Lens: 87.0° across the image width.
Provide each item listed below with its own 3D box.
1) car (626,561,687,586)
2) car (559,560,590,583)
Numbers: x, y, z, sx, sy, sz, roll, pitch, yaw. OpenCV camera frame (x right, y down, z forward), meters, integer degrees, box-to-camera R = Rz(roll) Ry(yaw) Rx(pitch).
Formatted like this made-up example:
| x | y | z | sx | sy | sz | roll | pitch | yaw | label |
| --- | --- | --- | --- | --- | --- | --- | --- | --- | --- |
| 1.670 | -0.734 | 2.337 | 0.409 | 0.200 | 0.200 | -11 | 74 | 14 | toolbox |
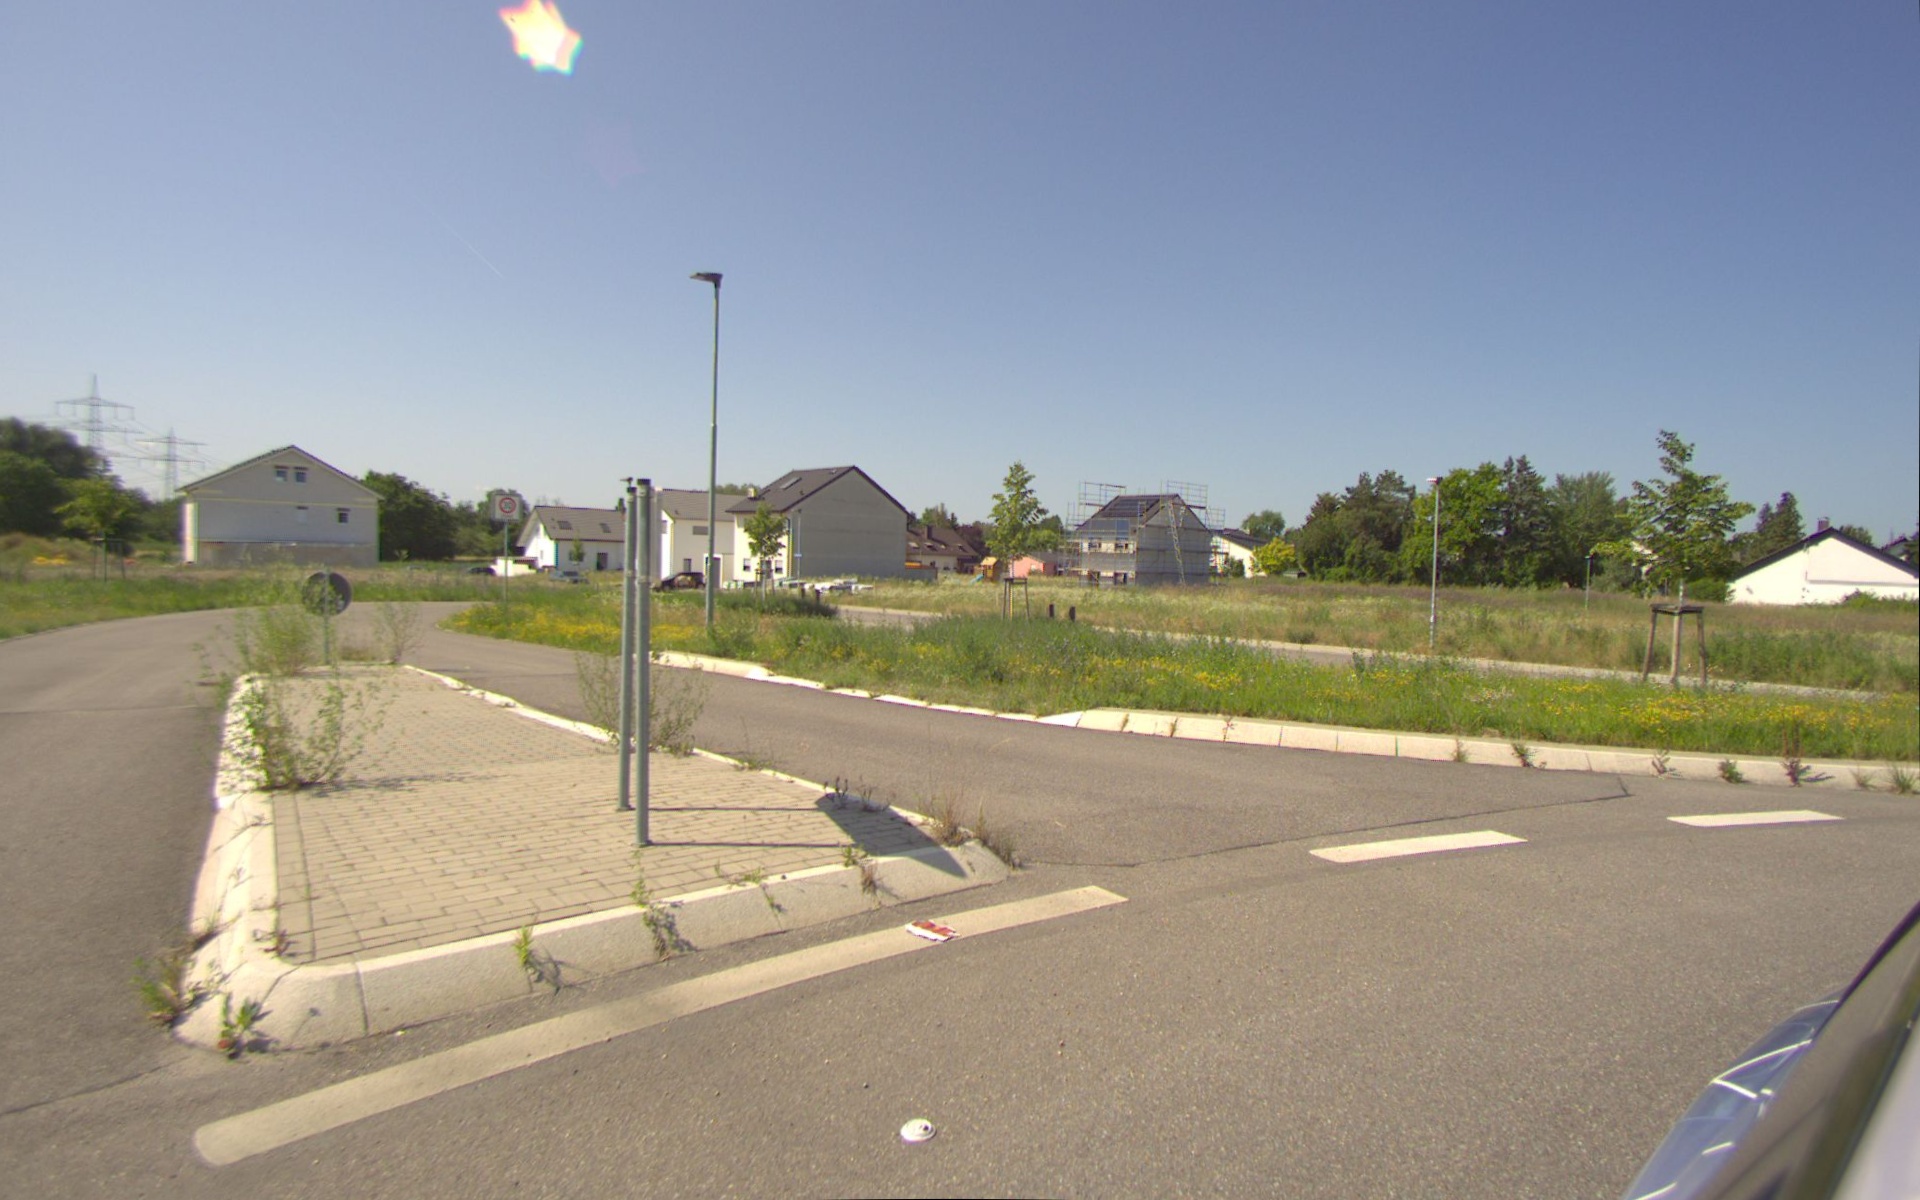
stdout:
| x | y | z | sx | sy | sz | roll | pitch | yaw | label |
| --- | --- | --- | --- | --- | --- | --- | --- | --- | --- |
| -22.595 | -1.961 | 75.325 | 3.929 | 1.816 | 1.998 | -1 | 2 | -39 | car |
| -29.092 | -2.106 | 76.305 | 1.648 | 1.682 | 3.490 | 0 | 1 | -31 | car |
